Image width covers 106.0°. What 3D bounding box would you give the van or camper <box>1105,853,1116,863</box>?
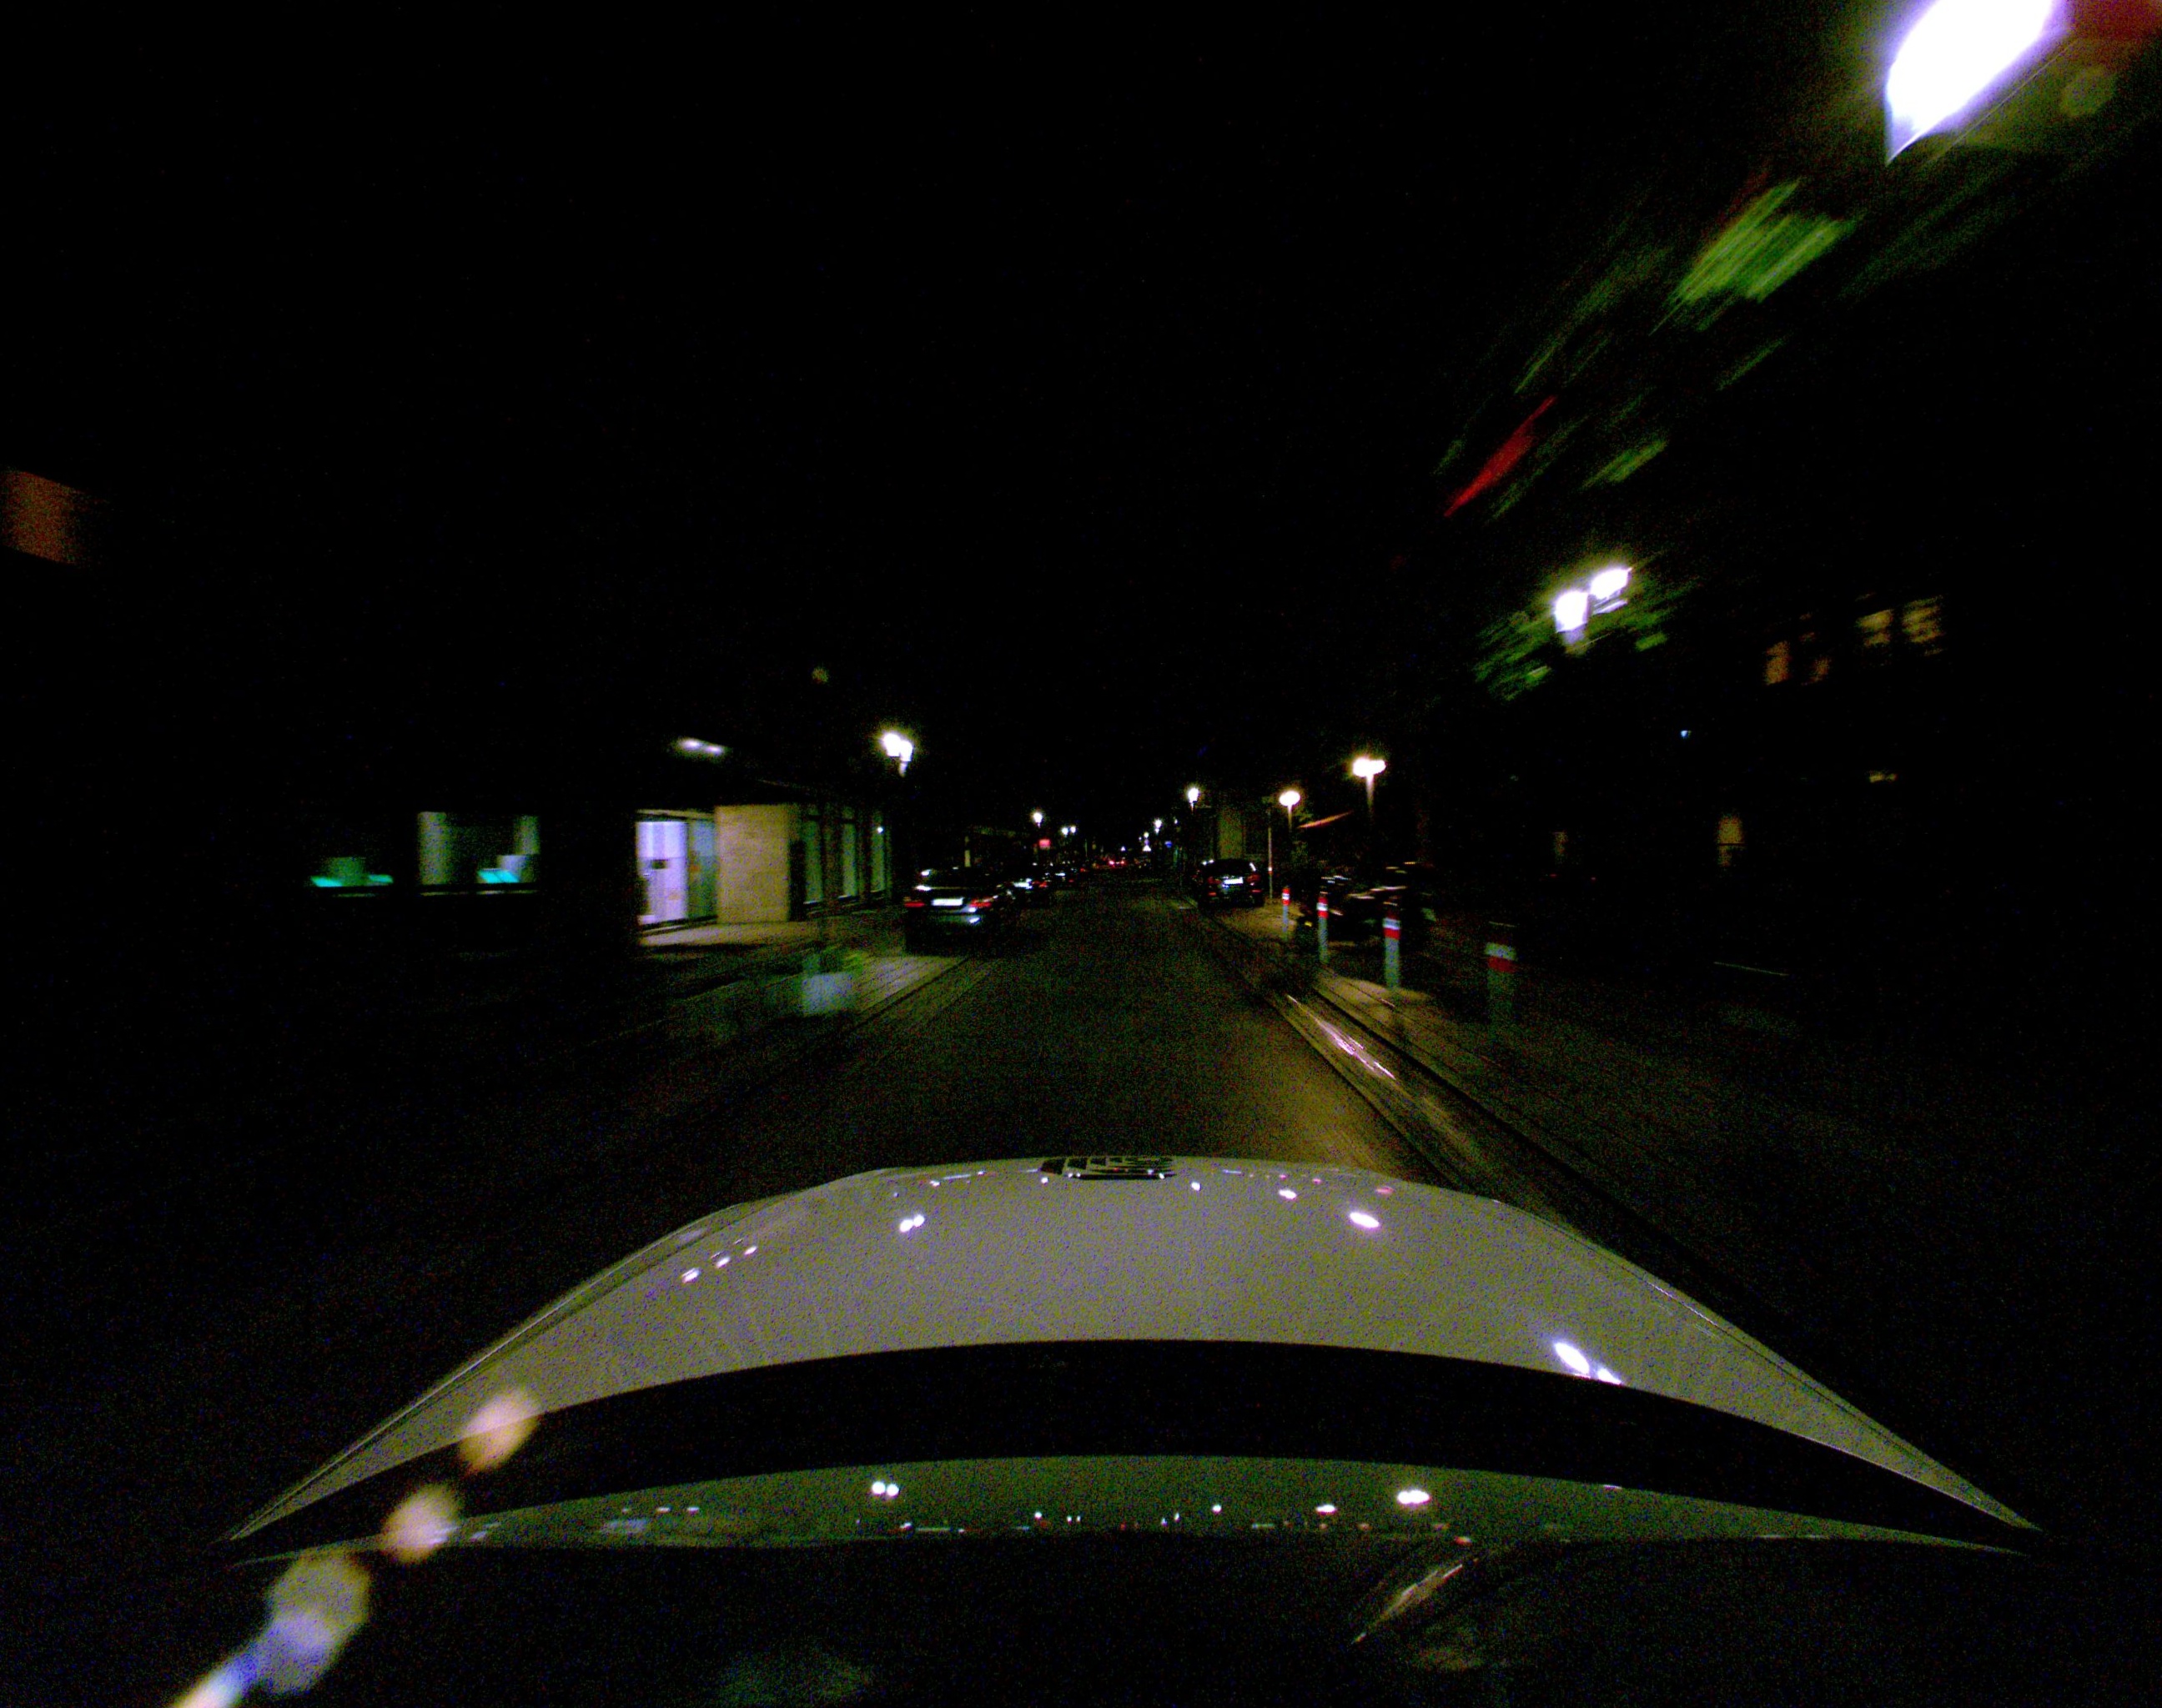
[{"bbox_3d":[6.849,0.923,189.874,2.105,2.317,4.255,-3,0,-4],"label":"van or camper"}]

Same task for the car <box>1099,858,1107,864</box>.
[{"bbox_3d":[5.465,1.856,202.890,1.528,1.418,3.841,-2,0,-3],"label":"car"}]

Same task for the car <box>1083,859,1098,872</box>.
[{"bbox_3d":[1.173,1.376,99.389,1.722,1.477,3.848,-1,0,1],"label":"car"}]

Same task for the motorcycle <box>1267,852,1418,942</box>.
[{"bbox_3d":[4.299,0.717,13.449,2.243,1.391,0.665,-3,-1,27],"label":"motorcycle"}]

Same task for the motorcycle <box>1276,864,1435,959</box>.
[{"bbox_3d":[4.026,0.835,12.094,2.142,1.297,0.519,-3,-1,40],"label":"motorcycle"}]

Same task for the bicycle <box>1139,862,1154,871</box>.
[{"bbox_3d":[8.142,1.522,101.441,1.749,1.062,0.346,-2,0,-1],"label":"bicycle"}]

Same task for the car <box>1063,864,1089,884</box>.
[{"bbox_3d":[-0.335,1.445,61.012,1.709,1.413,4.389,0,0,3],"label":"car"}]

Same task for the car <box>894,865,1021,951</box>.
[{"bbox_3d":[-2.384,0.999,16.862,1.894,1.470,4.524,-1,0,0],"label":"car"}]

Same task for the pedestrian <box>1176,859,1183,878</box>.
[{"bbox_3d":[8.143,1.172,67.466,0.498,1.547,0.481,-1,-1,8],"label":"pedestrian"}]

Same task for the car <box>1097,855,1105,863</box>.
[{"bbox_3d":[5.126,1.274,208.837,1.835,1.901,3.841,-2,0,-3],"label":"car"}]

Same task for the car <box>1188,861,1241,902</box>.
[{"bbox_3d":[5.036,1.000,31.051,1.653,1.377,4.110,-4,-1,6],"label":"car"}]

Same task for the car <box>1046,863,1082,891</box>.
[{"bbox_3d":[-0.940,1.289,46.572,1.790,1.478,4.323,-1,-1,2],"label":"car"}]

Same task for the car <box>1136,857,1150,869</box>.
[{"bbox_3d":[8.526,1.184,112.459,1.782,1.491,4.062,-3,0,3],"label":"car"}]

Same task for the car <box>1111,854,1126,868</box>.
[{"bbox_3d":[5.364,1.011,117.190,1.986,1.823,4.001,-2,0,1],"label":"car"}]

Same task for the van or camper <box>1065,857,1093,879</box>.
[{"bbox_3d":[-0.143,1.217,73.320,1.835,1.942,5.165,-1,0,8],"label":"van or camper"}]

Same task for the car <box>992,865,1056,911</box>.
[{"bbox_3d":[-1.920,1.120,28.626,1.838,1.464,4.624,0,0,1],"label":"car"}]

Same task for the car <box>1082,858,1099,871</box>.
[{"bbox_3d":[1.211,1.348,104.716,2.012,1.488,5.009,1,0,2],"label":"car"}]

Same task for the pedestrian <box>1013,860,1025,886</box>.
[{"bbox_3d":[-4.283,1.309,56.352,0.618,1.745,1.023,-1,-1,3],"label":"pedestrian"}]

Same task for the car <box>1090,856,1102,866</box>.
[{"bbox_3d":[2.460,1.148,132.854,1.670,1.543,4.225,-1,0,-3],"label":"car"}]

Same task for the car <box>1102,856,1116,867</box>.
[{"bbox_3d":[4.542,1.285,133.993,1.989,1.702,3.996,-2,0,-3],"label":"car"}]

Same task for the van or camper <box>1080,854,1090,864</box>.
[{"bbox_3d":[0.785,1.005,170.982,1.863,2.011,4.255,0,0,-4],"label":"van or camper"}]

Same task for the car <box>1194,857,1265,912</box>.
[{"bbox_3d":[4.554,0.887,25.561,1.745,1.464,4.473,-4,-1,6],"label":"car"}]

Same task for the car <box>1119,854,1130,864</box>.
[{"bbox_3d":[8.731,0.997,163.867,1.811,1.828,4.341,-2,0,-4],"label":"car"}]

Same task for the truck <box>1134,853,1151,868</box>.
[{"bbox_3d":[9.603,0.978,128.355,2.327,2.312,5.783,-2,0,2],"label":"truck"}]
